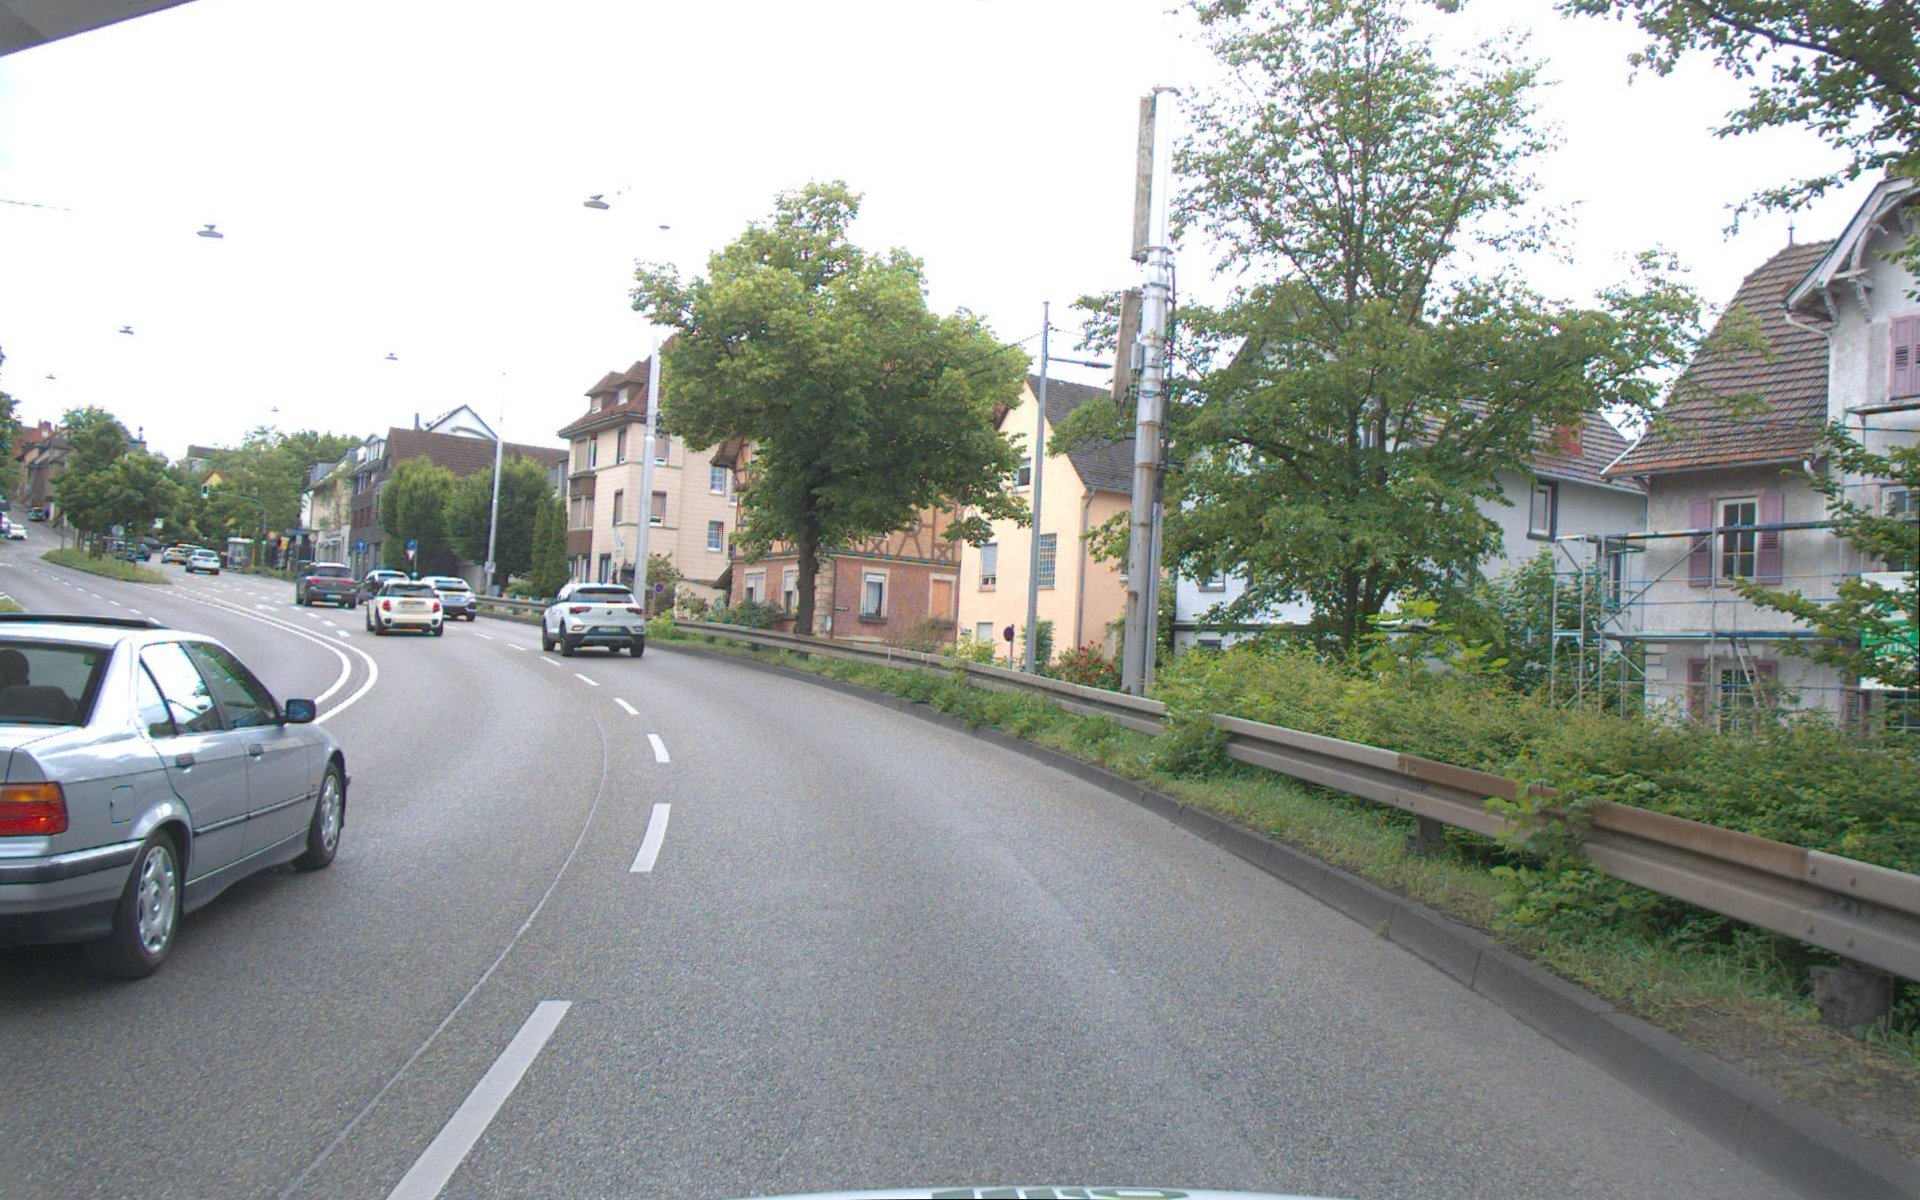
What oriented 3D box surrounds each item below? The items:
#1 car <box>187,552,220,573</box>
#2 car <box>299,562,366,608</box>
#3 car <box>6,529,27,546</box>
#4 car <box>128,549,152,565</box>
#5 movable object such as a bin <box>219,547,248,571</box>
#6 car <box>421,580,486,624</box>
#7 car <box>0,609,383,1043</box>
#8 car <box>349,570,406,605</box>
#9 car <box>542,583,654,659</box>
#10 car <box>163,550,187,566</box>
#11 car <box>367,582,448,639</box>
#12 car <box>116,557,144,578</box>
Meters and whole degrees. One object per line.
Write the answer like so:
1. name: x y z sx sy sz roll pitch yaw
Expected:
1. car: -52.643 -2.596 115.082 1.705 1.400 3.421 2 0 -30
2. car: -23.872 -0.589 62.855 1.706 1.668 3.418 2 0 -32
3. car: -108.868 -7.178 190.858 1.841 1.699 4.235 6 -1 -31
4. car: -76.005 -3.991 153.292 1.705 1.400 3.421 2 0 -30
5. movable object such as a bin: -64.570 -3.683 146.938 1.879 1.902 1.508 6 -1 -39
6. car: -17.424 0.059 56.805 1.701 1.400 3.430 2 0 -25
7. car: -4.024 0.760 7.683 1.603 1.407 4.612 0 0 -7
8. car: -24.233 -0.538 68.764 1.704 1.400 3.423 2 0 -29
9. car: -8.065 0.437 36.673 1.773 1.545 3.431 2 0 -24
10. car: -72.674 -3.847 153.188 1.705 1.400 3.421 2 0 -30
11. car: -14.892 0.263 44.504 1.701 1.400 3.430 2 0 -25
12. car: -66.715 -2.603 132.900 1.706 1.610 3.418 2 0 -32
